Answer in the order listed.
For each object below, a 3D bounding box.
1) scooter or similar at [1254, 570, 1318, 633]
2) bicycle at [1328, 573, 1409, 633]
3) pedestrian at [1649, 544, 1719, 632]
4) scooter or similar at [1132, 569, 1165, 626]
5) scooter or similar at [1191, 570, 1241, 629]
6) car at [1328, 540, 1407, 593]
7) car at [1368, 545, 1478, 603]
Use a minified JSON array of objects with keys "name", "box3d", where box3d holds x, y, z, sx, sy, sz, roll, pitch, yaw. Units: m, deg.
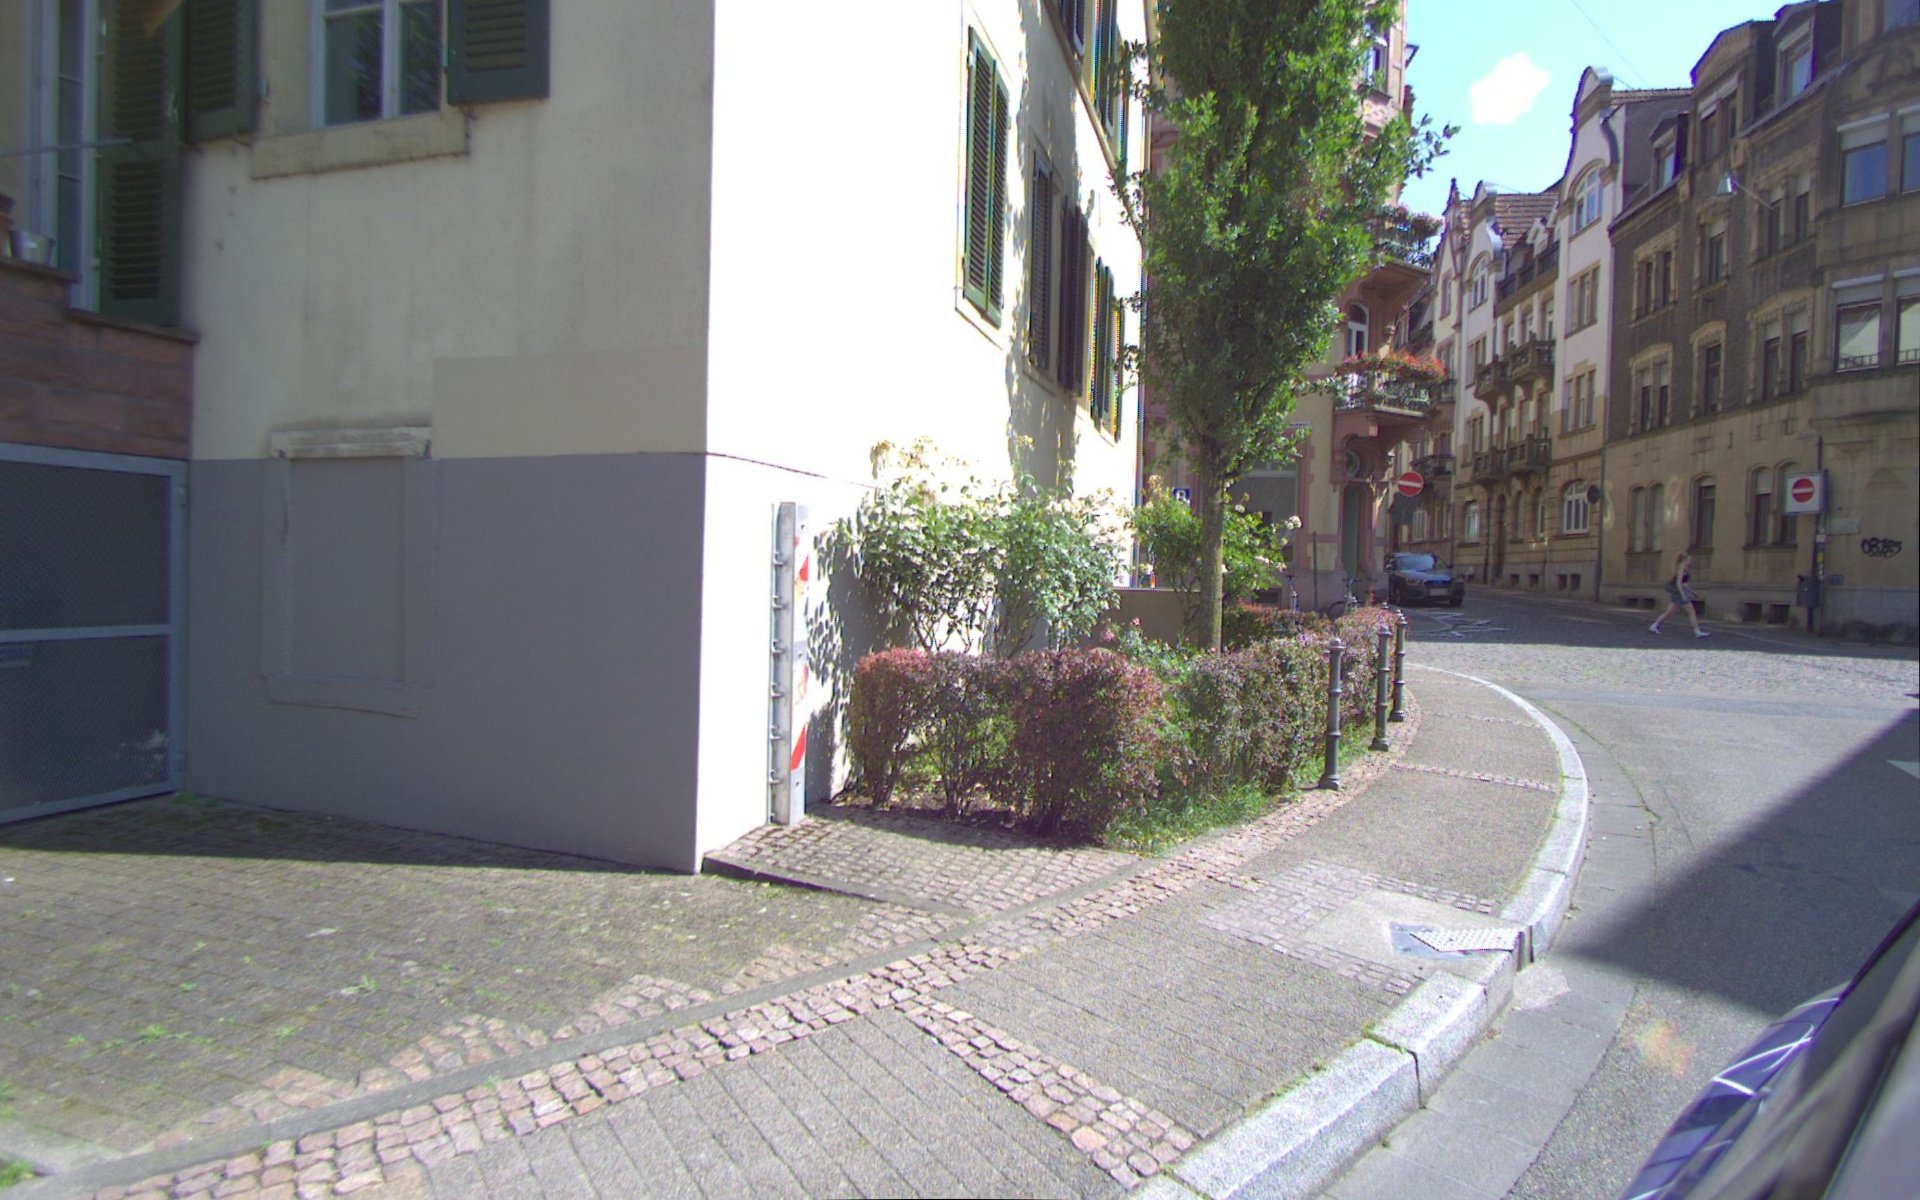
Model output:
[{"name":"scooter or similar","box3d":[6.796,0.023,21.116,1.169,1.250,0.442,2,2,5]},{"name":"bicycle","box3d":[8.590,0.041,21.369,0.495,1.160,1.798,1,3,-18]},{"name":"pedestrian","box3d":[15.284,-0.272,21.390,0.968,1.778,0.620,1,5,18]},{"name":"scooter or similar","box3d":[4.182,-0.073,22.462,0.335,1.224,1.193,1,2,-7]},{"name":"scooter or similar","box3d":[5.574,-0.031,22.079,0.335,1.224,1.193,1,2,-28]},{"name":"car","box3d":[14.524,-1.254,36.242,1.732,1.726,3.993,-1,4,9]},{"name":"car","box3d":[14.013,-0.842,30.901,1.830,1.602,4.255,0,4,7]}]
